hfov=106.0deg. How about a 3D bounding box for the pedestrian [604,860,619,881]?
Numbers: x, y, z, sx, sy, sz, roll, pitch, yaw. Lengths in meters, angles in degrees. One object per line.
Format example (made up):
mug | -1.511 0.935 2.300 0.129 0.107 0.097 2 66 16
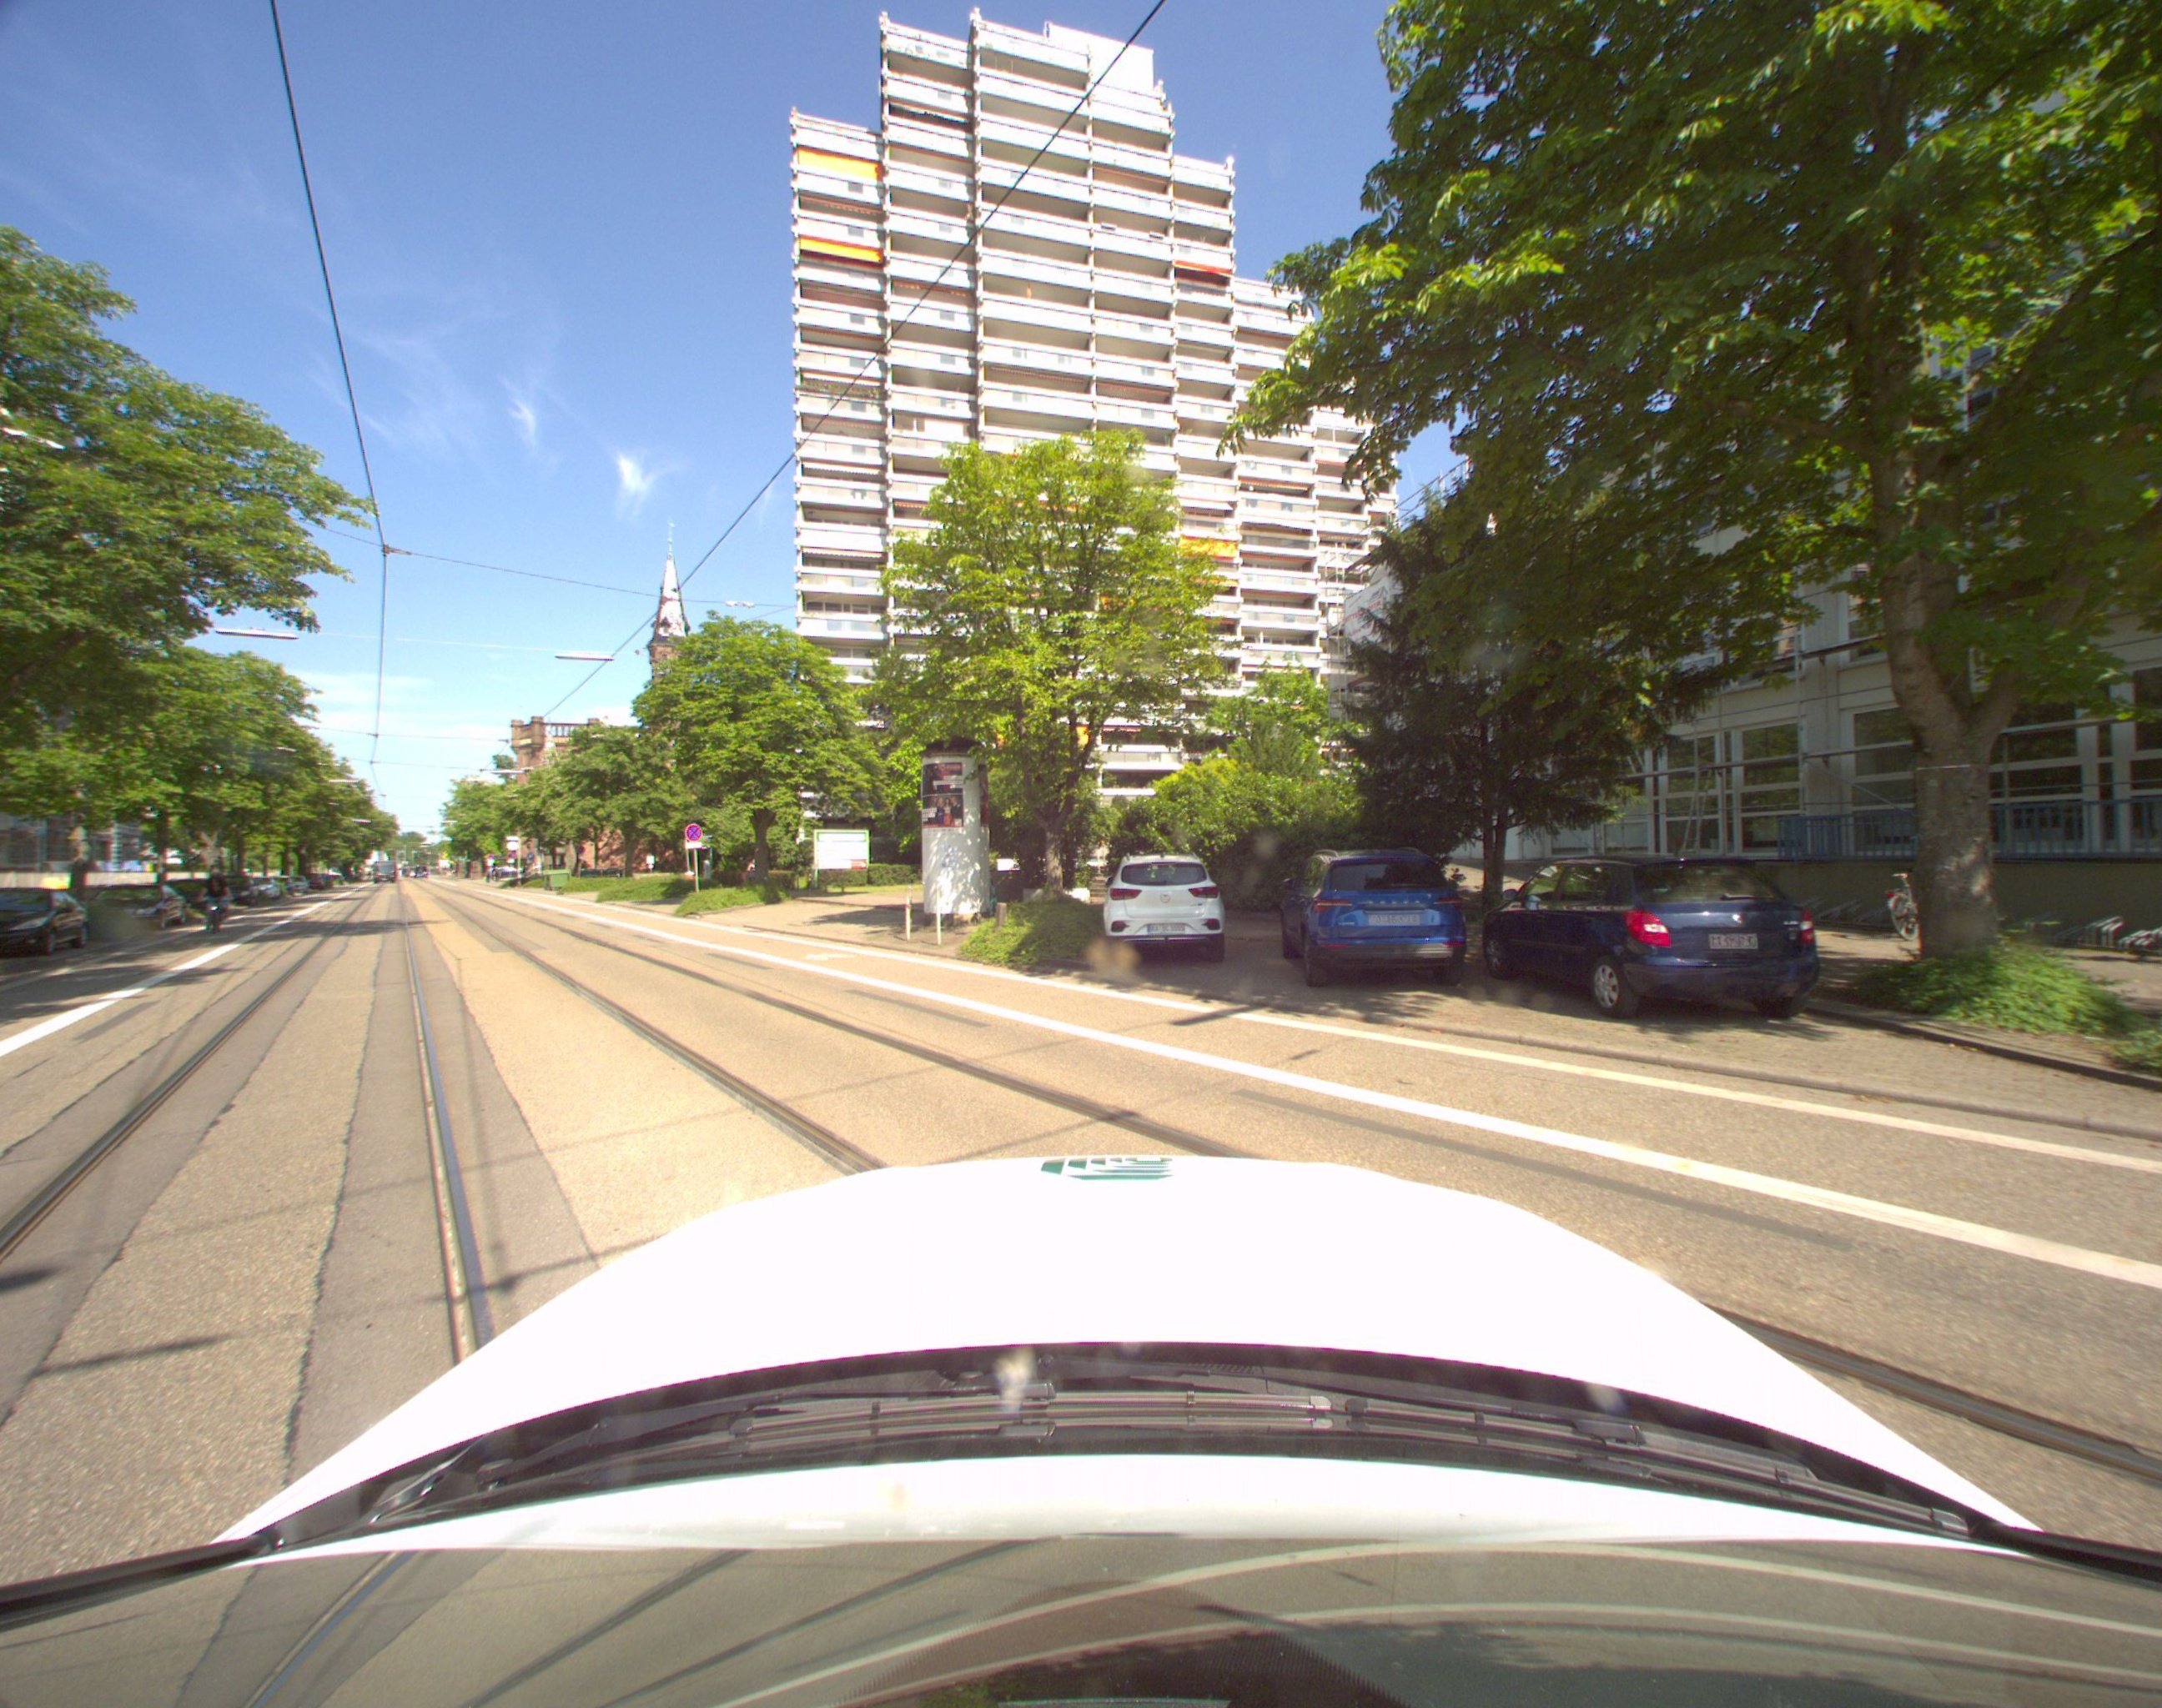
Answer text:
pedestrian | -40.055 1.421 69.495 1.064 1.798 1.252 1 -2 -33

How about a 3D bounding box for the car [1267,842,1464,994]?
car | 3.551 0.690 10.878 1.764 1.622 3.955 -2 1 9

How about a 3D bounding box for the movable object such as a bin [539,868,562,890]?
movable object such as a bin | -37.179 1.742 57.075 1.271 1.453 1.068 1 -1 -35

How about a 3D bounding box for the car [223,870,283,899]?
car | -49.590 1.771 48.859 2.009 1.640 3.954 0 -1 -38

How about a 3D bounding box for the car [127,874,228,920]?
car | -36.142 1.664 32.696 2.009 1.640 3.954 0 -1 -38

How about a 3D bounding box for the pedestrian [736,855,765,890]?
pedestrian | -16.984 0.951 41.805 1.065 1.798 1.250 2 -2 -37

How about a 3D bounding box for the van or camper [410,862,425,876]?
van or camper | -129.720 2.986 159.219 2.062 2.620 5.791 0 -1 -42

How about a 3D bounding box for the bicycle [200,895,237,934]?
bicycle | -24.452 1.692 23.099 0.600 1.006 1.469 0 -1 -43

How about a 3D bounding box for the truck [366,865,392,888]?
truck | -93.893 2.947 108.999 2.580 2.938 5.019 0 -1 -40

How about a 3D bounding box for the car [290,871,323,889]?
car | -72.380 2.427 76.155 2.010 1.640 3.953 0 -1 -41

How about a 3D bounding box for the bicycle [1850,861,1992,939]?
bicycle | 12.795 0.666 12.397 2.205 1.086 0.738 0 -1 -23

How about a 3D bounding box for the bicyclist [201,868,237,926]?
bicyclist | -24.395 1.199 23.053 0.636 1.606 0.694 0 -1 -43

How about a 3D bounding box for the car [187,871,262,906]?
car | -42.870 1.666 40.855 2.009 1.640 3.954 0 -1 -38

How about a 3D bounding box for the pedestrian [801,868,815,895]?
pedestrian | -11.592 1.159 34.571 0.534 1.154 0.697 -1 -1 -19

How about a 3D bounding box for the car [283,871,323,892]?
car | -63.621 2.245 66.621 1.963 1.640 3.954 0 -1 -38

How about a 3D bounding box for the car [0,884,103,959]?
car | -23.281 1.432 17.783 1.831 1.453 3.952 -1 0 -41

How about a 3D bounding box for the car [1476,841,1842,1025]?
car | 5.661 0.675 8.543 1.564 1.531 3.462 -1 -1 4

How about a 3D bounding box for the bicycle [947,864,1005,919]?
bicycle | -2.625 0.908 20.209 1.601 1.308 0.550 -1 -1 44

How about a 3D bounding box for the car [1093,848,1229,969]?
car | 1.196 0.771 13.312 1.807 1.606 3.947 -3 -1 2

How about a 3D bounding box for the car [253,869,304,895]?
car | -54.503 1.878 55.393 2.009 1.640 3.954 0 -1 -38

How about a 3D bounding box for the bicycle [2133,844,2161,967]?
bicycle | 13.843 0.597 9.724 2.083 1.453 0.661 -1 -1 -10
